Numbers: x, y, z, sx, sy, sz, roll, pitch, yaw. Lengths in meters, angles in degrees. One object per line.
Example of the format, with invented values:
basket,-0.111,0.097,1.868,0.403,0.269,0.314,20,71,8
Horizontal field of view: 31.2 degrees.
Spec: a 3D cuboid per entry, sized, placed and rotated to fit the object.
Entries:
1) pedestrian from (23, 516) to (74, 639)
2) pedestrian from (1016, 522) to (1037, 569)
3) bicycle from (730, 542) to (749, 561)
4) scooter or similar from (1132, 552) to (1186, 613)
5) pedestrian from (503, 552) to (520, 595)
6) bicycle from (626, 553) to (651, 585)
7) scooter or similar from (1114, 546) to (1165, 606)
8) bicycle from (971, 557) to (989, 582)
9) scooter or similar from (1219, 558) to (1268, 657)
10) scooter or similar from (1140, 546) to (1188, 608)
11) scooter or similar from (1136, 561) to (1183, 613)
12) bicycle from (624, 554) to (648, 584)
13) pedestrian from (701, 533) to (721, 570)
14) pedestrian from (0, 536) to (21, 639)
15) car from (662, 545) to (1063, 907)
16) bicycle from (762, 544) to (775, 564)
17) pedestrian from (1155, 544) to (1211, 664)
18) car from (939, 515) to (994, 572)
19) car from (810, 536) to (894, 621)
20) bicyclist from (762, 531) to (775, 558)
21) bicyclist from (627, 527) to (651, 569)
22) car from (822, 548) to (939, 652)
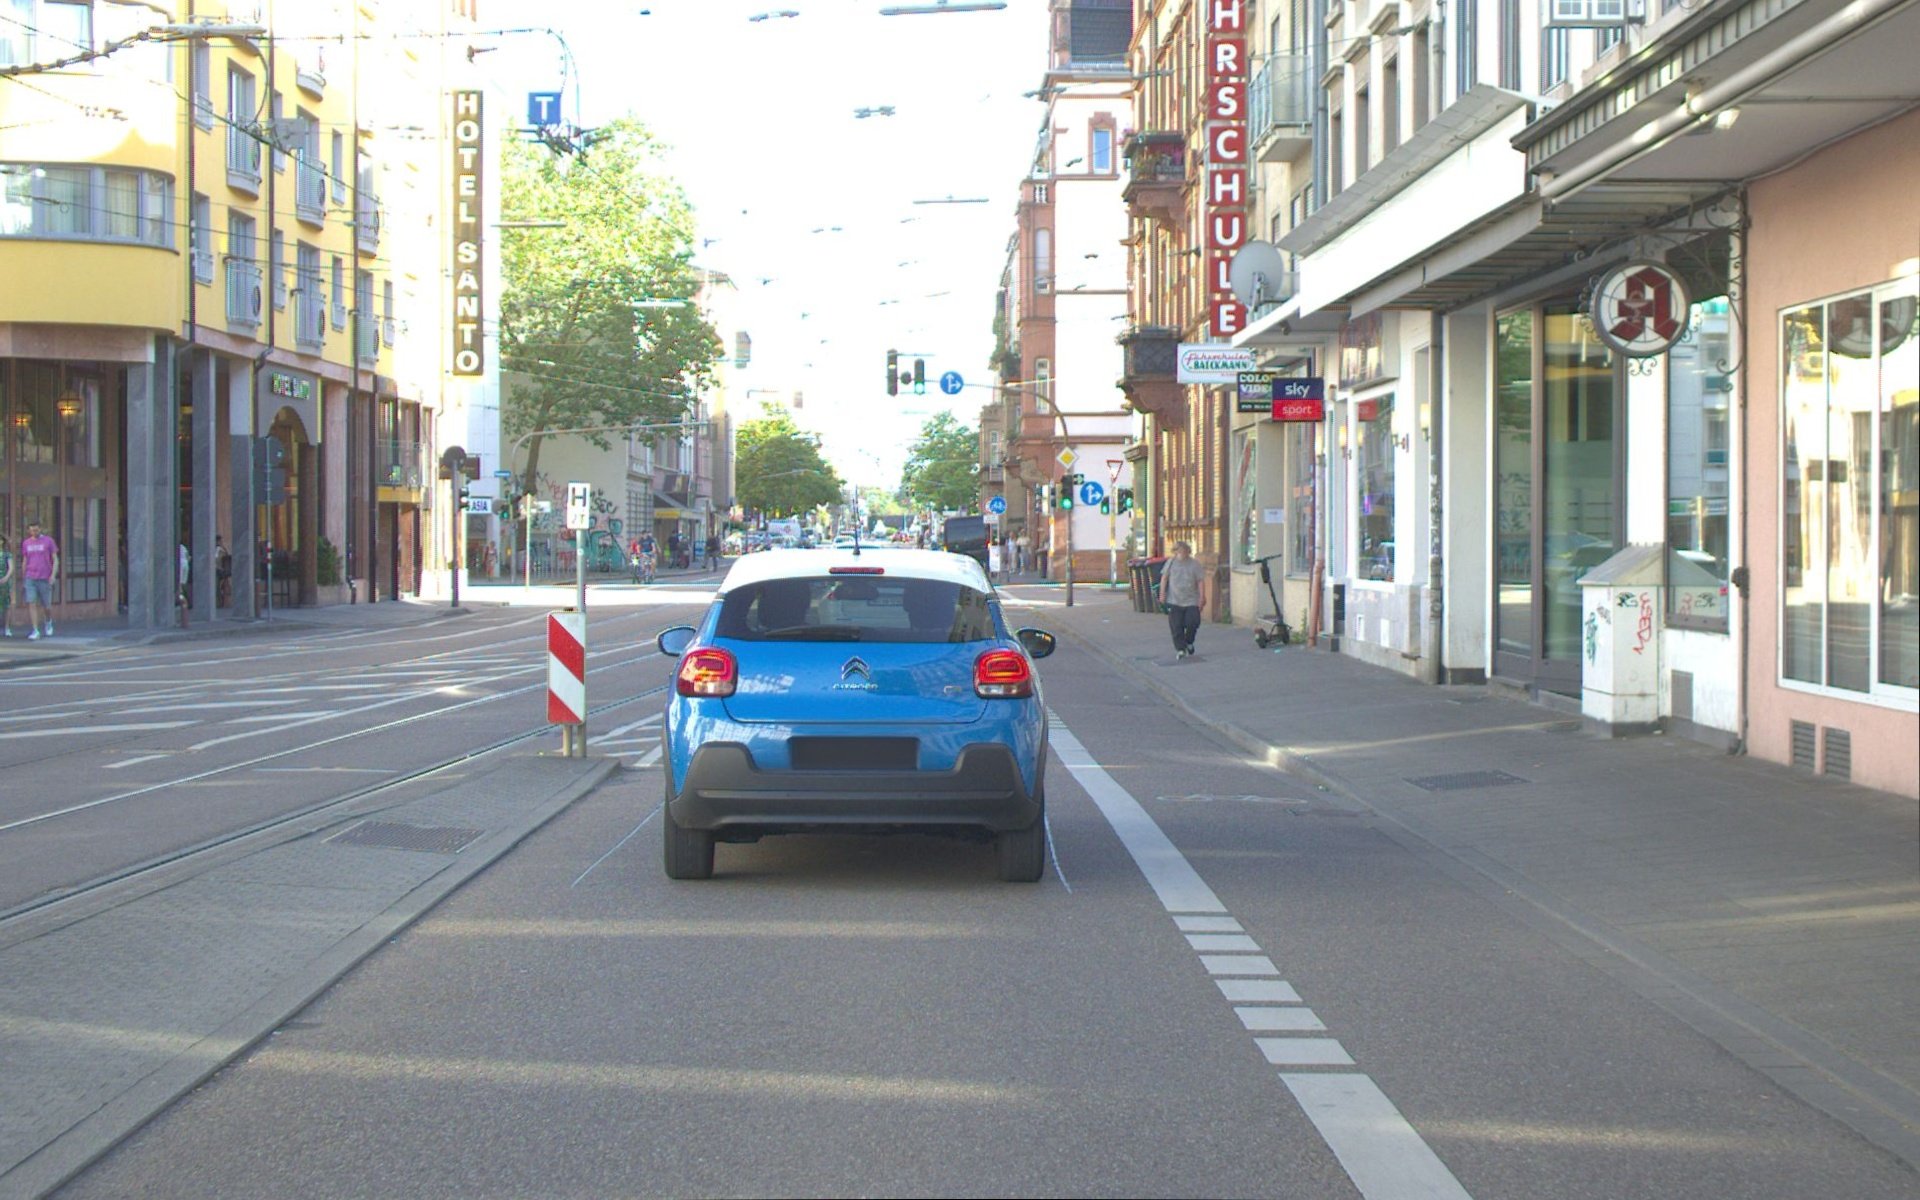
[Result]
pedestrian,-14.388,-0.357,54.284,0.637,1.940,0.709,0,1,-2
pedestrian,2.581,-2.096,132.807,0.705,1.776,0.673,2,-1,-3
bicycle,-15.479,-3.387,241.219,1.120,1.315,3.645,0,1,-6
scooter or similar,3.959,-0.357,68.431,0.933,1.144,0.650,-4,1,-2
pedestrian,-16.089,-0.941,123.343,0.542,1.547,0.516,0,1,-2
bicycle,-11.034,-1.073,118.087,0.730,1.084,2.062,0,1,-2
scooter or similar,3.612,-0.485,69.263,0.897,1.144,0.547,-4,1,-2
bicycle,0.760,-1.155,129.312,0.431,0.944,1.764,0,1,-8
scooter or similar,3.718,0.089,45.101,0.410,1.277,1.283,0,1,15
scooter or similar,3.973,-0.459,66.919,0.790,1.144,0.790,-4,1,-2
scooter or similar,3.928,-0.264,67.755,0.790,0.954,0.680,-4,1,-2
bicycle,-11.692,-1.135,124.074,0.730,1.062,2.062,0,1,-2
pedestrian,-11.720,-2.290,161.882,0.682,1.759,1.025,0,1,10
pedestrian,-15.168,-0.198,54.266,0.571,1.612,0.499,0,1,-2
car,-0.421,0.503,16.602,1.674,1.472,4.000,-1,1,0
bicycle,-10.641,-2.572,191.180,0.692,1.116,2.084,0,1,-2
pedestrian,2.922,0.044,45.169,0.648,1.555,0.781,0,1,-2
car,0.255,-2.459,149.765,2.271,2.428,5.720,0,1,-1
car,-2.619,-0.549,83.686,1.993,2.007,4.000,0,1,-1
bicyclist,-10.627,-3.099,191.025,0.682,1.478,0.778,0,1,-2
bicyclist,-11.008,-1.784,117.803,0.724,1.376,1.228,1,2,-2
car,-1.216,-0.026,51.582,1.667,1.473,4.001,0,1,-2
